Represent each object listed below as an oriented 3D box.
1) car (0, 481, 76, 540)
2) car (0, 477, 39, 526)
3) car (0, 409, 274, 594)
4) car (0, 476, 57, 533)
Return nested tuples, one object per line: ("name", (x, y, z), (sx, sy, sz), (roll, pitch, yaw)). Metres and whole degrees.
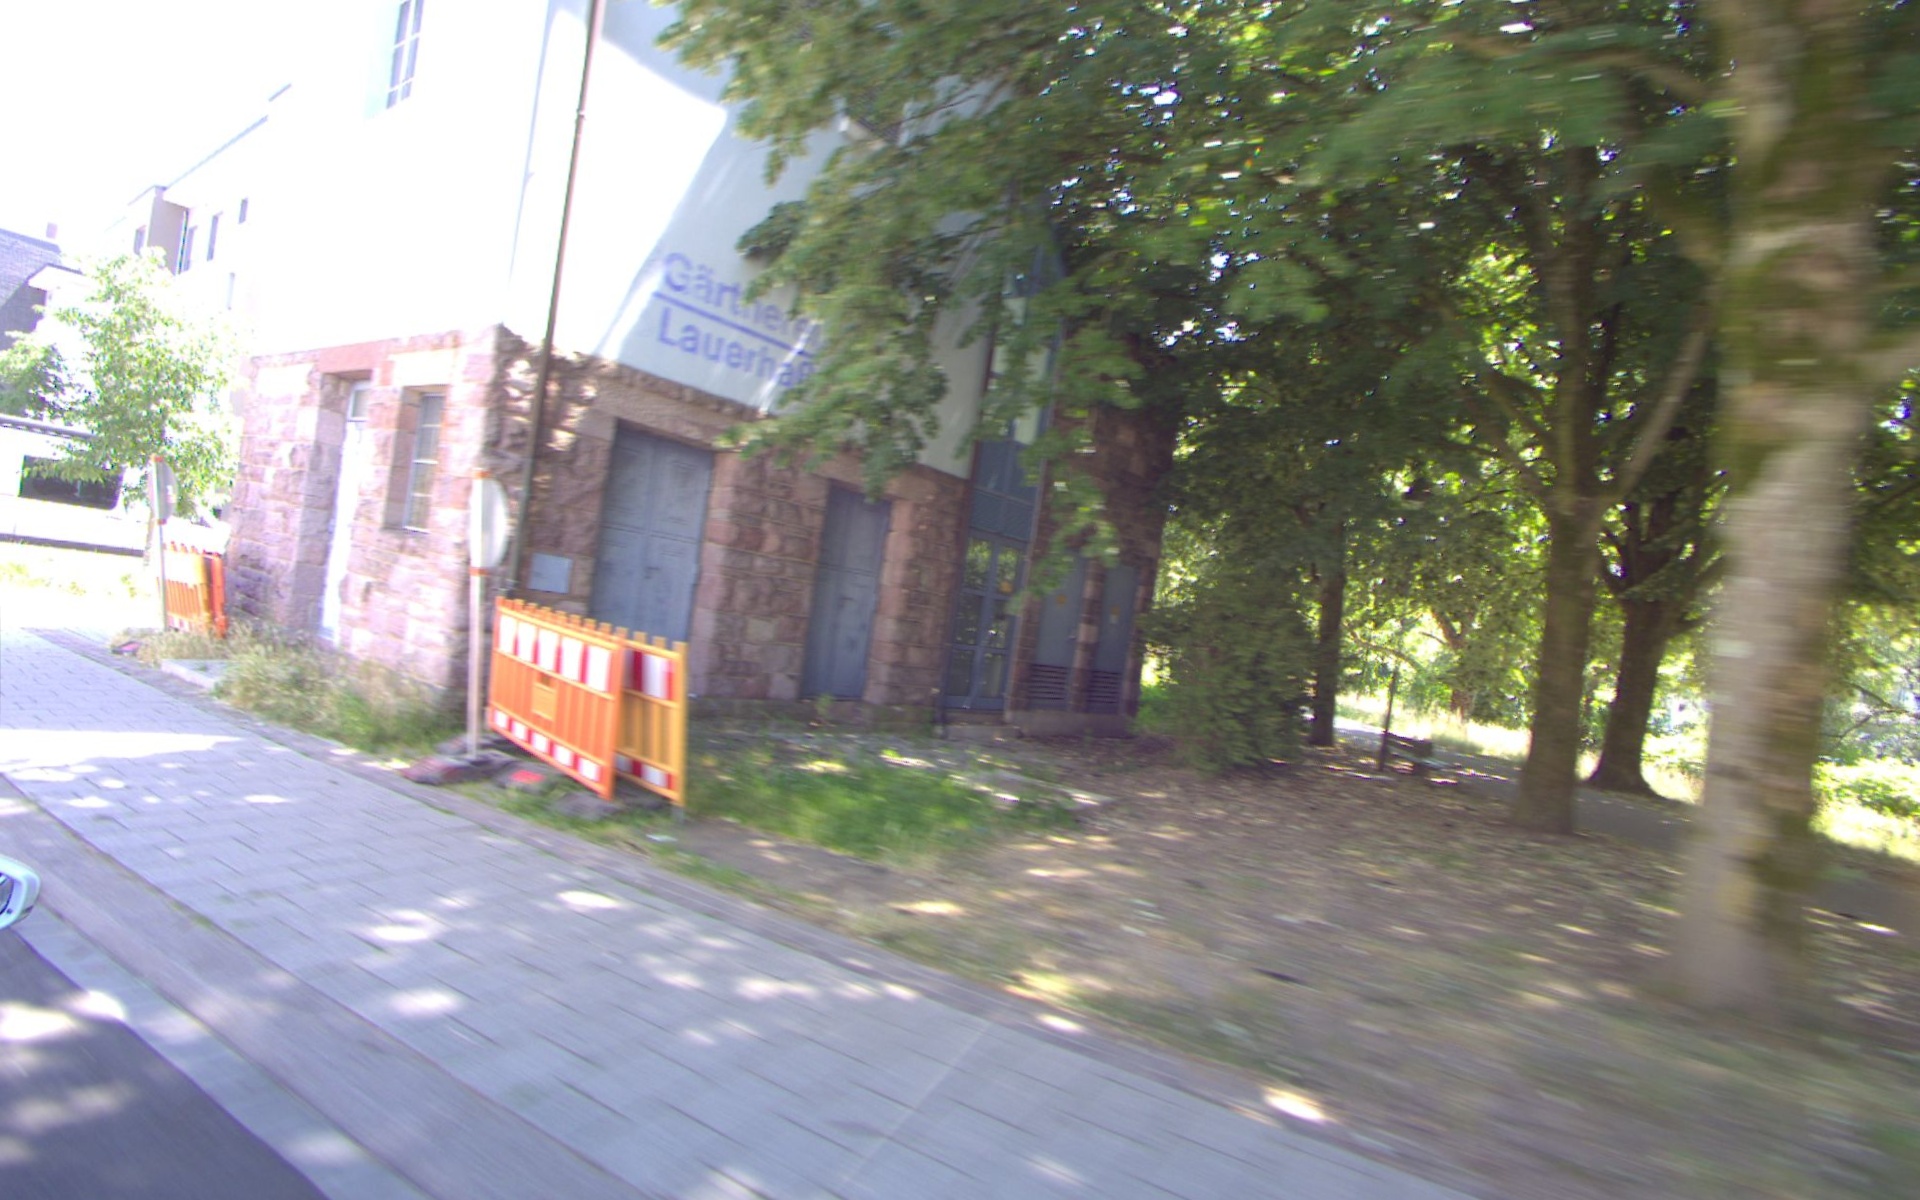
("car", (-27.881, -2.735, 28.490), (1.830, 1.426, 3.967), (7, 0, 40))
("car", (-35.000, -3.718, 35.076), (1.715, 1.547, 3.978), (7, -1, 40))
("car", (-16.835, -1.913, 18.909), (2.165, 2.765, 5.935), (8, -1, 41))
("car", (-31.720, -3.301, 32.137), (1.915, 1.624, 3.978), (7, -1, 40))
